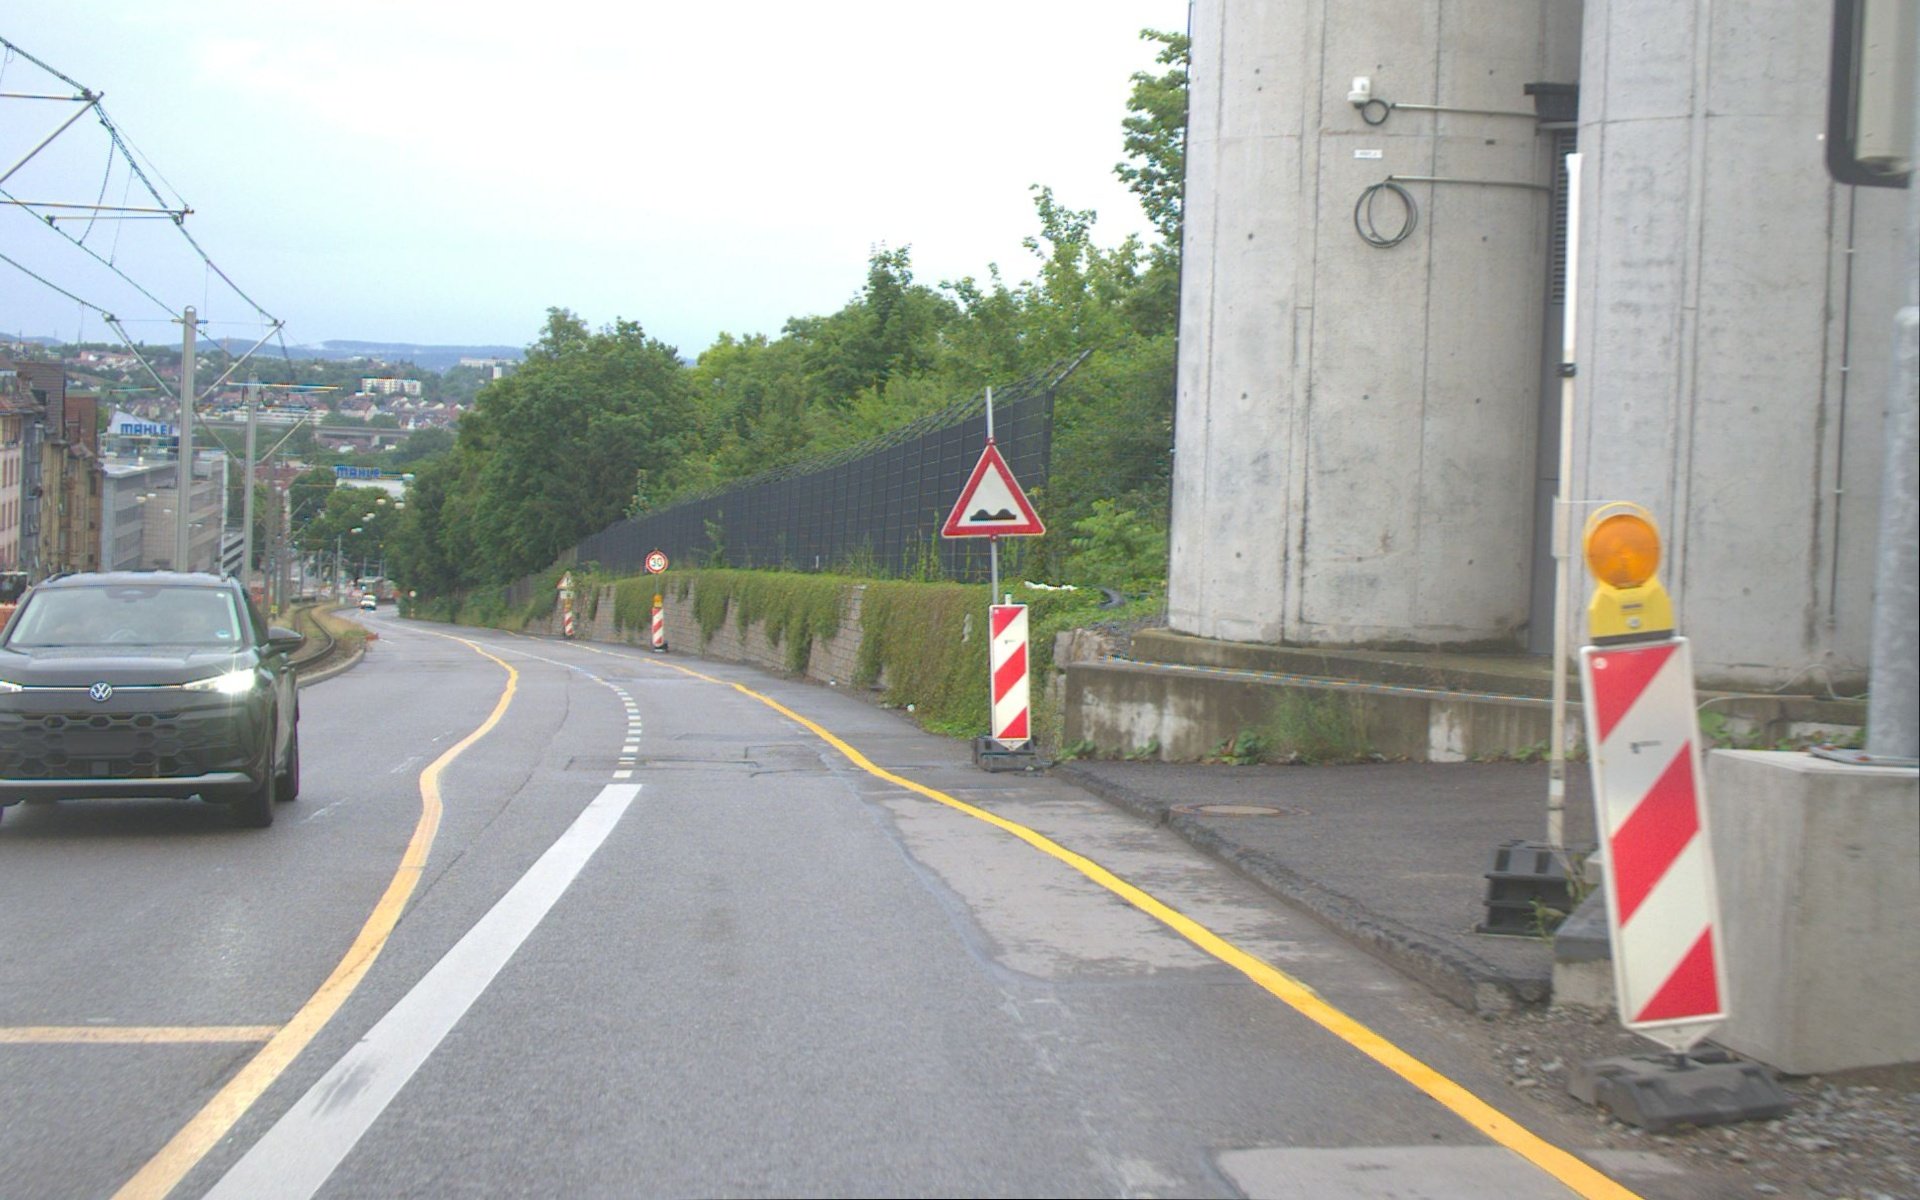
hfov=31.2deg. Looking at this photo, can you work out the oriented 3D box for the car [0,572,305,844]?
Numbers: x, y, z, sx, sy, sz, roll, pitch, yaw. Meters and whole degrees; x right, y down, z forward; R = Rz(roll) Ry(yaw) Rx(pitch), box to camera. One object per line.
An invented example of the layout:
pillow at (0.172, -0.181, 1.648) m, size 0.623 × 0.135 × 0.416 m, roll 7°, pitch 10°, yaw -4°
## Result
car at (-5.007, 0.580, 20.956) m, size 1.788 × 1.459 × 3.952 m, roll -1°, pitch 1°, yaw -8°
